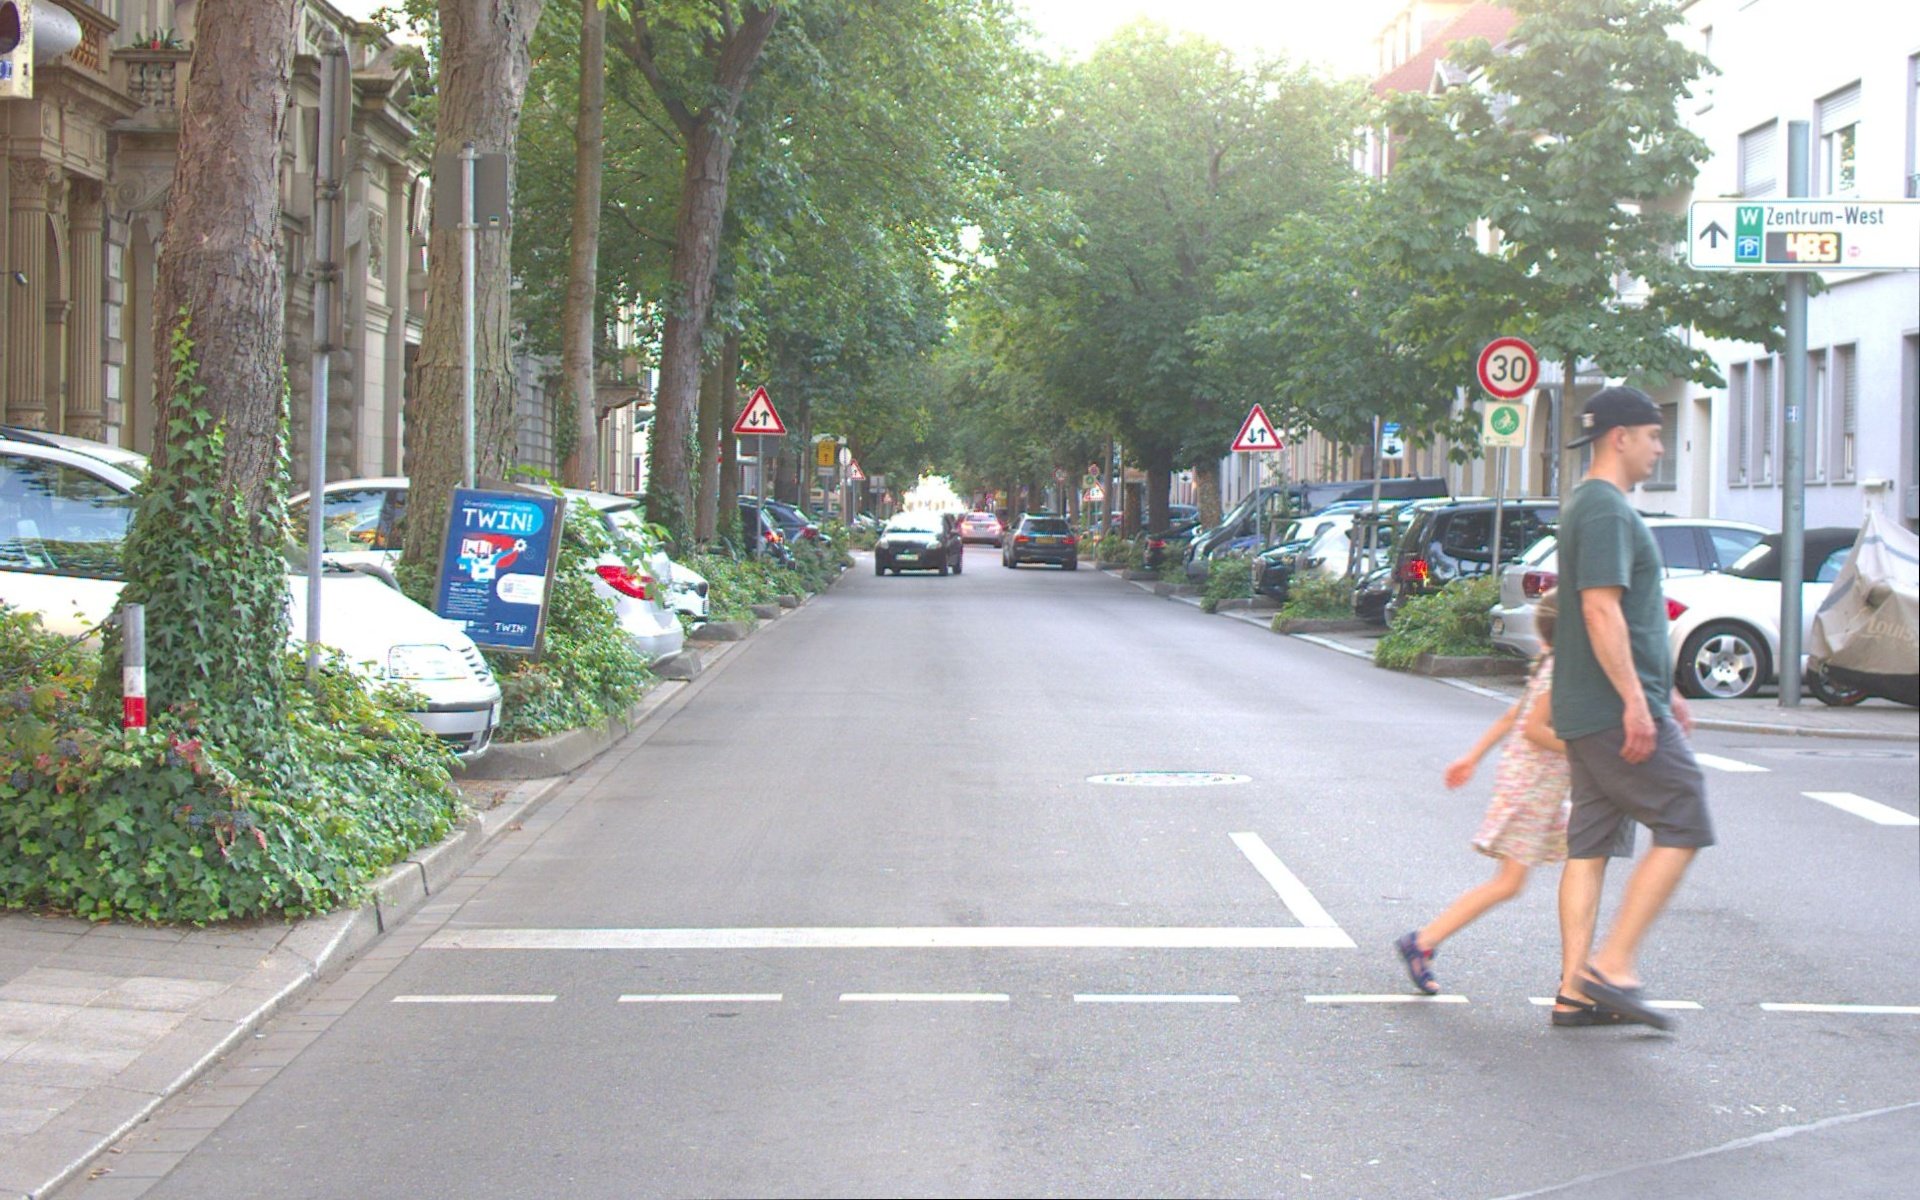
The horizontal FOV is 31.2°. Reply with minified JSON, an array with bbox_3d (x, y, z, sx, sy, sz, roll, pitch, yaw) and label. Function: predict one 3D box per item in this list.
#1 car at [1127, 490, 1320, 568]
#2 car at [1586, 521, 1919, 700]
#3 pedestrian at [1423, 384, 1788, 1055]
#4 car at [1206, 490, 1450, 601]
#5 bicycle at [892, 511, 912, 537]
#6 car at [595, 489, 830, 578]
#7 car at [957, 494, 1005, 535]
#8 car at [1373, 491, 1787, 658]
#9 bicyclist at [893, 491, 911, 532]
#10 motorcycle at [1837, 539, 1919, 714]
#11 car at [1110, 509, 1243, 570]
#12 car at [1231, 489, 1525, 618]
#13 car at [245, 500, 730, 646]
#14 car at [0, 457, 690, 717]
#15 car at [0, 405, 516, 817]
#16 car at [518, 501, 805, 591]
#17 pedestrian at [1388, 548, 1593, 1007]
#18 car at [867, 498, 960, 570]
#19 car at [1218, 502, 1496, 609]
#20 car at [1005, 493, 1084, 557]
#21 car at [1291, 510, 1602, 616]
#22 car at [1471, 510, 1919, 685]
[{"bbox_3d":[5.700,-1.549,74.756,4.014,1.596,1.707,1,1,0],"label":"car"},{"bbox_3d":[7.085,0.069,27.017,4.014,1.338,1.707,0,2,0],"label":"car"},{"bbox_3d":[1.807,0.312,9.756,0.888,1.809,0.794,1,2,4],"label":"pedestrian"},{"bbox_3d":[6.365,-0.955,59.771,4.014,1.824,1.707,1,1,0],"label":"car"},{"bbox_3d":[-2.133,-2.784,126.563,0.571,0.946,1.745,1,1,-6],"label":"bicycle"},{"bbox_3d":[-4.925,-1.342,68.905,4.548,1.686,1.833,1,2,0],"label":"car"},{"bbox_3d":[0.879,-3.602,144.128,1.924,1.654,4.000,1,2,-1],"label":"car"},{"bbox_3d":[6.448,-0.281,36.060,4.014,1.684,1.707,0,1,0],"label":"car"},{"bbox_3d":[-2.129,-3.252,126.338,0.571,1.465,0.643,1,1,-6],"label":"bicyclist"},{"bbox_3d":[7.042,0.182,23.819,1.800,1.195,0.613,1,1,9],"label":"motorcycle"},{"bbox_3d":[6.753,-1.893,107.455,4.014,1.824,1.707,1,1,0],"label":"car"},{"bbox_3d":[5.992,-0.681,49.633,4.014,1.809,1.707,0,1,0],"label":"car"},{"bbox_3d":[-4.623,-0.285,34.096,4.548,1.367,1.833,1,2,0],"label":"car"},{"bbox_3d":[-4.228,-0.113,23.806,4.548,1.683,1.833,1,2,0],"label":"car"},{"bbox_3d":[-4.461,0.018,16.257,4.547,1.828,1.833,0,2,-3],"label":"car"},{"bbox_3d":[-4.882,-0.900,56.606,4.548,1.405,1.833,1,2,0],"label":"car"},{"bbox_3d":[1.592,0.518,10.378,0.539,1.331,0.506,2,2,5],"label":"pedestrian"},{"bbox_3d":[-1.058,-1.557,80.299,1.904,1.572,3.991,2,1,2],"label":"car"},{"bbox_3d":[6.023,-0.686,52.491,4.014,1.524,1.707,1,1,0],"label":"car"},{"bbox_3d":[2.178,-1.966,89.874,1.825,1.556,4.028,2,2,-1],"label":"car"},{"bbox_3d":[6.656,-0.518,47.284,4.014,1.404,1.707,0,2,0],"label":"car"},{"bbox_3d":[6.554,-0.041,29.659,4.014,1.437,1.707,0,2,0],"label":"car"}]
